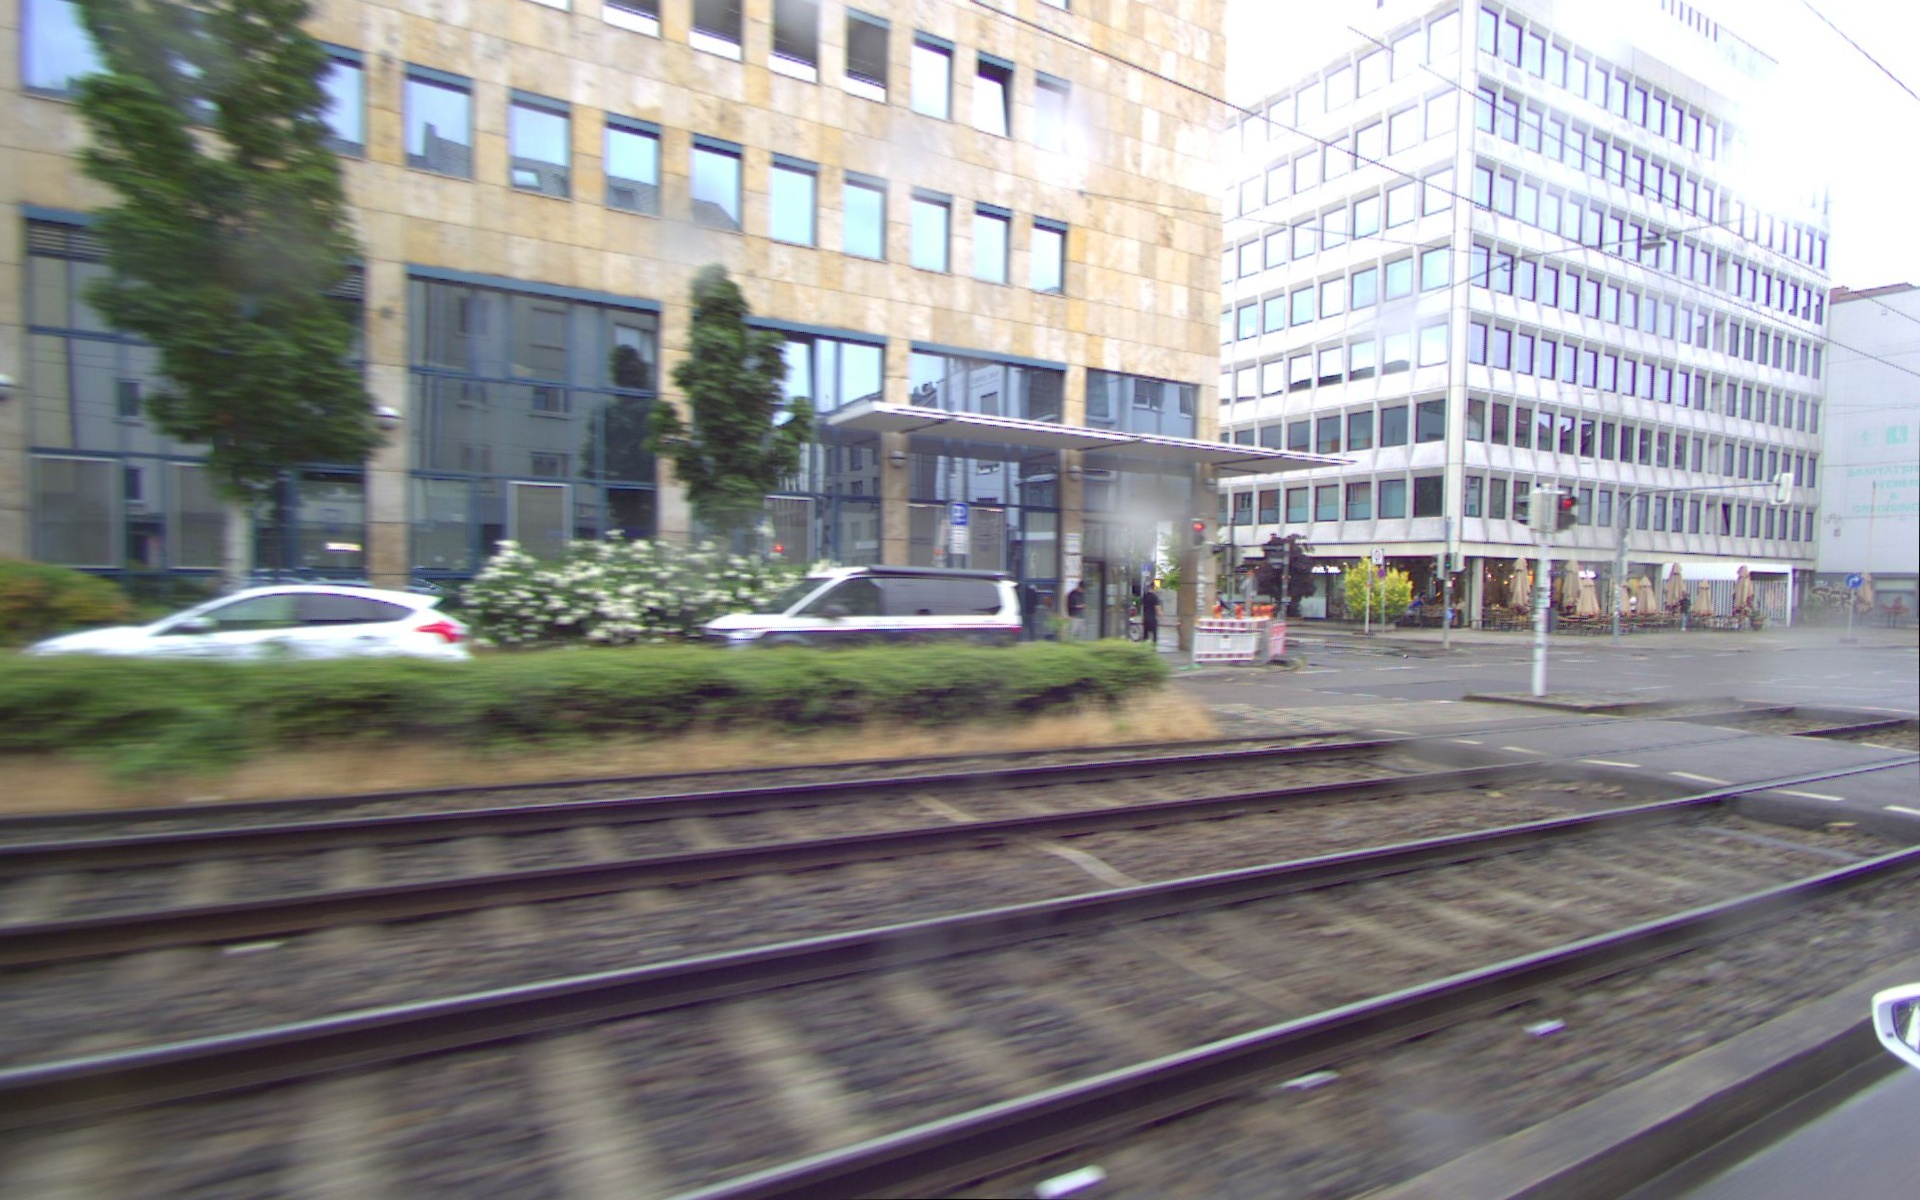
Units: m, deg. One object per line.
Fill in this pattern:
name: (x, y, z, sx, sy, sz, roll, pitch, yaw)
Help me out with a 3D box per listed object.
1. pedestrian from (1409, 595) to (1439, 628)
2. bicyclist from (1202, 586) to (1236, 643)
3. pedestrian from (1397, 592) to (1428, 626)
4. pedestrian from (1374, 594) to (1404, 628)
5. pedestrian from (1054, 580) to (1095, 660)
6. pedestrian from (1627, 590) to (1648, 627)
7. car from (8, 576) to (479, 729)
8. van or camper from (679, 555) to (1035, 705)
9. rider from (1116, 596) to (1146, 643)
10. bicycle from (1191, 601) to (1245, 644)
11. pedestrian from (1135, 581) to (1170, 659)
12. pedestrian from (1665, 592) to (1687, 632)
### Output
pedestrian: (21.855, 0.539, 47.338, 0.954, 1.553, 0.889, 0, 2, -32)
bicyclist: (8.485, 0.480, 32.972, 0.775, 1.829, 0.705, 0, 2, -31)
pedestrian: (21.108, 0.422, 46.850, 0.886, 1.553, 0.957, 0, 2, -30)
pedestrian: (20.532, 0.523, 48.083, 0.887, 1.553, 0.956, 0, 2, -32)
pedestrian: (2.690, 0.465, 23.623, 0.670, 1.839, 0.698, 0, 2, -28)
pedestrian: (32.963, 0.414, 48.854, 0.836, 1.772, 0.560, 0, 2, -35)
car: (-8.036, 0.505, 11.744, 4.208, 1.506, 1.679, 0, 1, -32)
van or camper: (-1.531, 0.454, 15.694, 5.137, 2.024, 2.007, 2, 1, -31)
rider: (6.203, 0.701, 36.468, 0.775, 1.698, 0.705, 0, 2, -31)
bicycle: (8.471, 0.732, 33.052, 0.652, 1.328, 1.755, 1, 1, -31)
pedestrian: (4.568, 0.463, 23.871, 0.689, 1.805, 0.679, 1, 1, 4)
pedestrian: (33.389, 0.557, 46.830, 0.836, 1.847, 0.560, 0, 2, -35)
